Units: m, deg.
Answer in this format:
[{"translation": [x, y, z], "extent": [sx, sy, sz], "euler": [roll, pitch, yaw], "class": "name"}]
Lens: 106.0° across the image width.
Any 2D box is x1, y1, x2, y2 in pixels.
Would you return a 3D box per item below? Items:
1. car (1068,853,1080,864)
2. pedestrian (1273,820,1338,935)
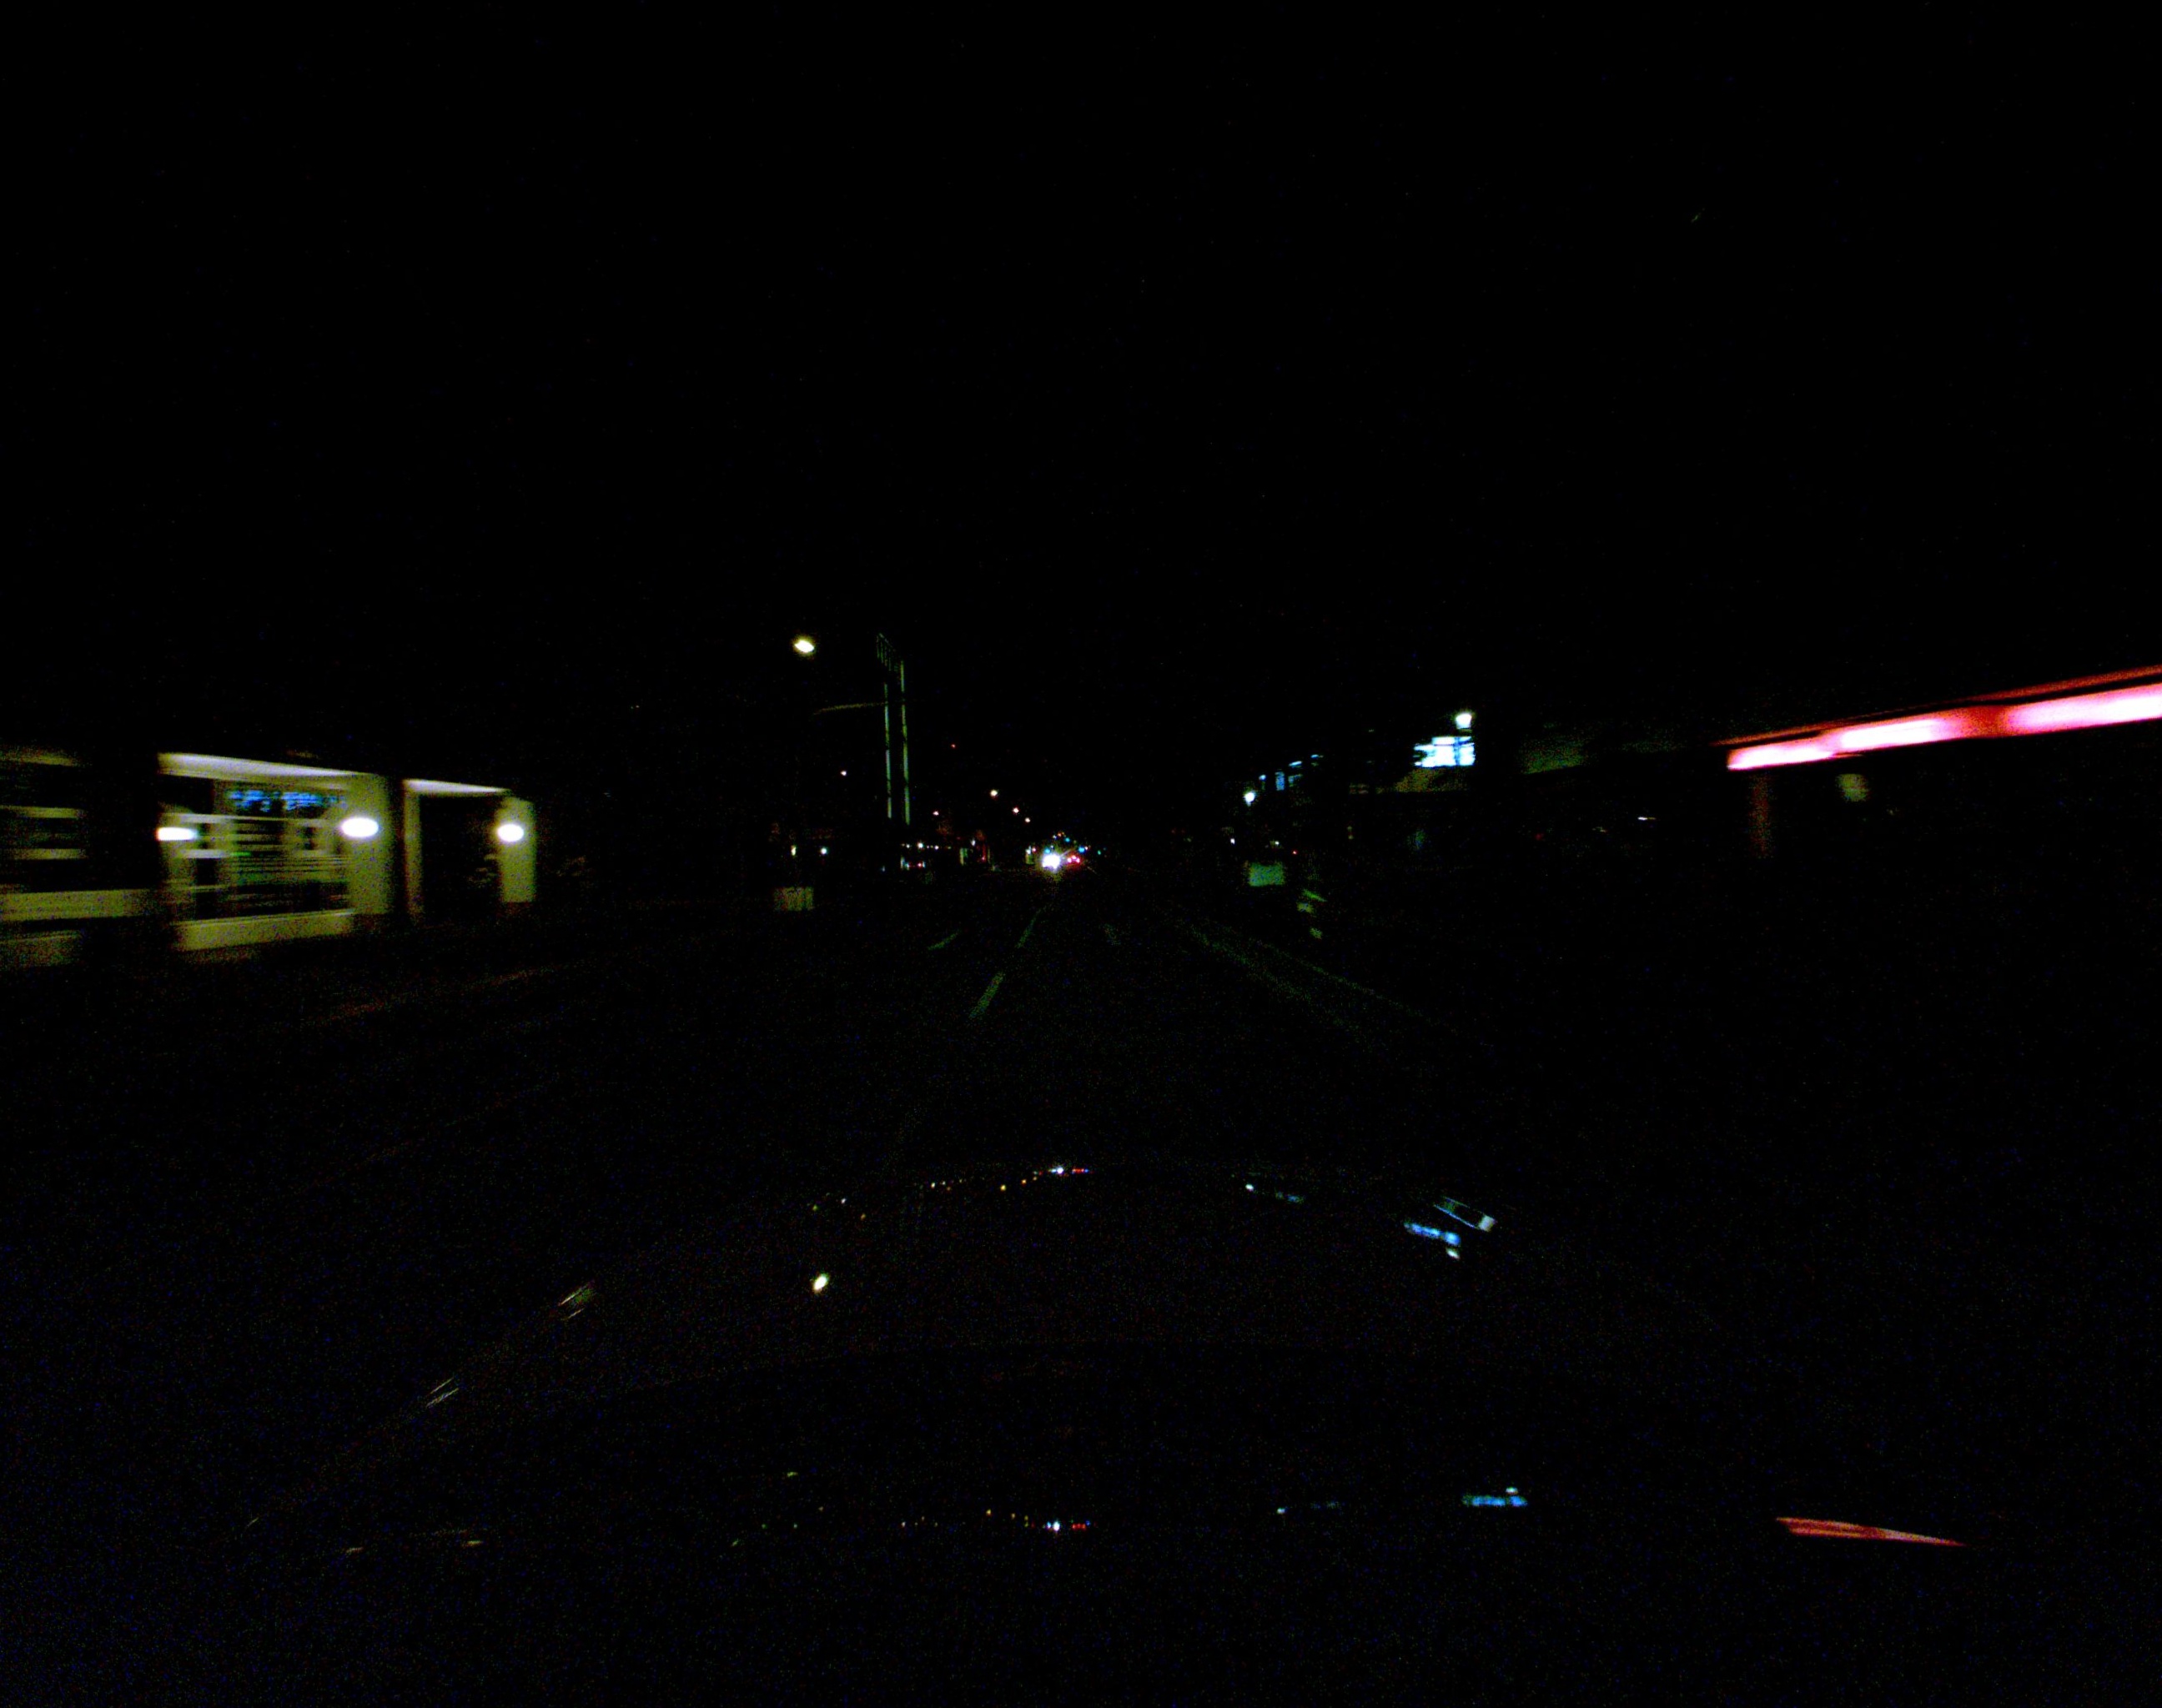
[{"translation": [-1.214, 0.759, 139.280], "extent": [1.988, 1.643, 3.998], "euler": [-3, 0, -1], "class": "car"}, {"translation": [3.738, 0.376, 13.613], "extent": [0.700, 1.818, 1.082], "euler": [-3, 0, 0], "class": "pedestrian"}]
